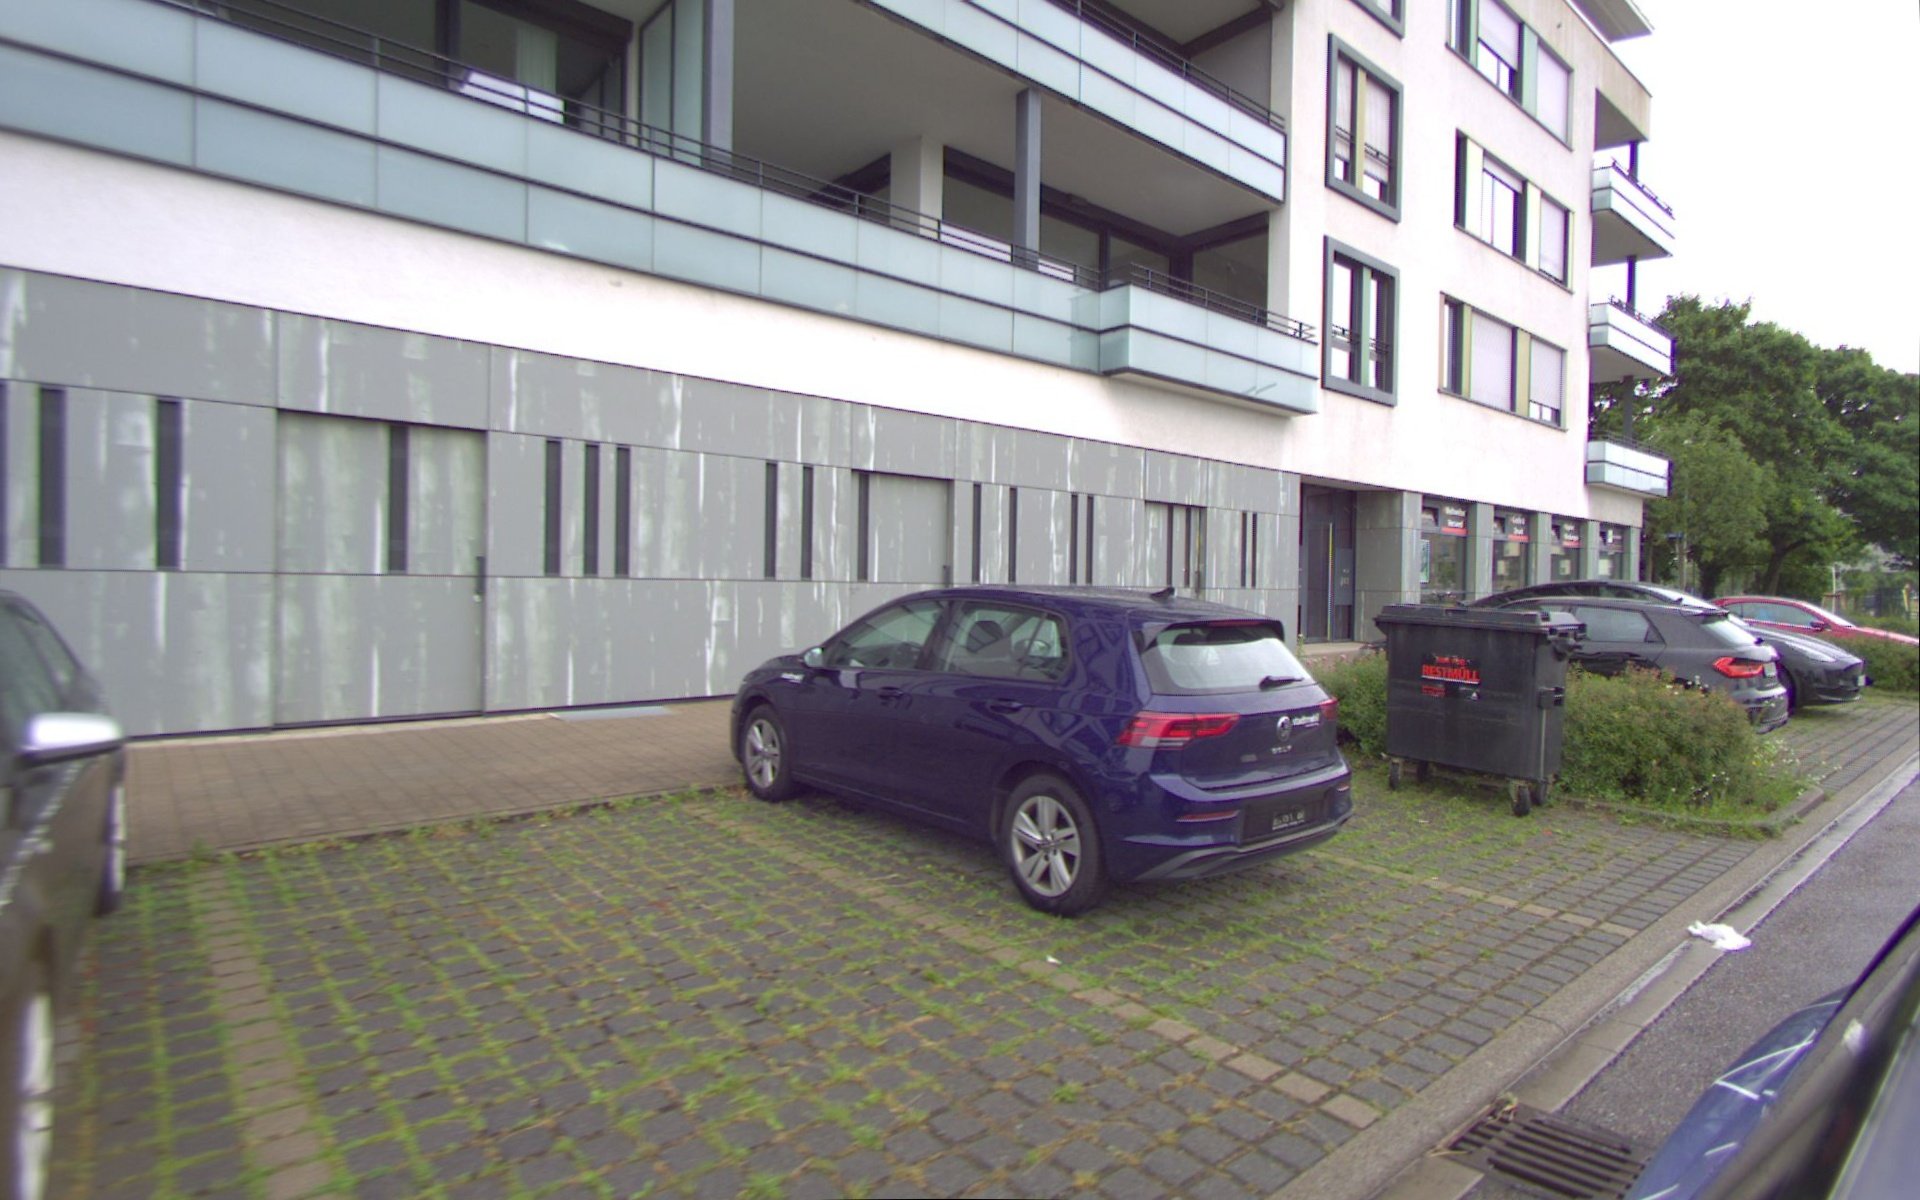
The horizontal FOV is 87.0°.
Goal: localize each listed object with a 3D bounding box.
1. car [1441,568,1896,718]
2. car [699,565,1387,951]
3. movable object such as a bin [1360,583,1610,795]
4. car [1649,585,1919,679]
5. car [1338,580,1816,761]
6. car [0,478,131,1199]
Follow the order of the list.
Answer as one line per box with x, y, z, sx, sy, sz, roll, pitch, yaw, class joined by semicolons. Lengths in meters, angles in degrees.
9.421;0.424;13.849;1.835;1.685;4.794;0;2;-40;car
0.151;0.556;6.034;1.681;1.496;4.097;0;2;-40;car
3.753;0.561;7.283;0.959;1.354;1.351;0;0;-41;movable object such as a bin
15.313;0.504;18.669;1.755;1.505;3.995;0;2;-40;car
6.343;0.573;10.767;1.755;1.505;3.995;0;2;-40;car
-3.359;0.521;2.575;1.745;1.551;3.999;0;2;-37;car
